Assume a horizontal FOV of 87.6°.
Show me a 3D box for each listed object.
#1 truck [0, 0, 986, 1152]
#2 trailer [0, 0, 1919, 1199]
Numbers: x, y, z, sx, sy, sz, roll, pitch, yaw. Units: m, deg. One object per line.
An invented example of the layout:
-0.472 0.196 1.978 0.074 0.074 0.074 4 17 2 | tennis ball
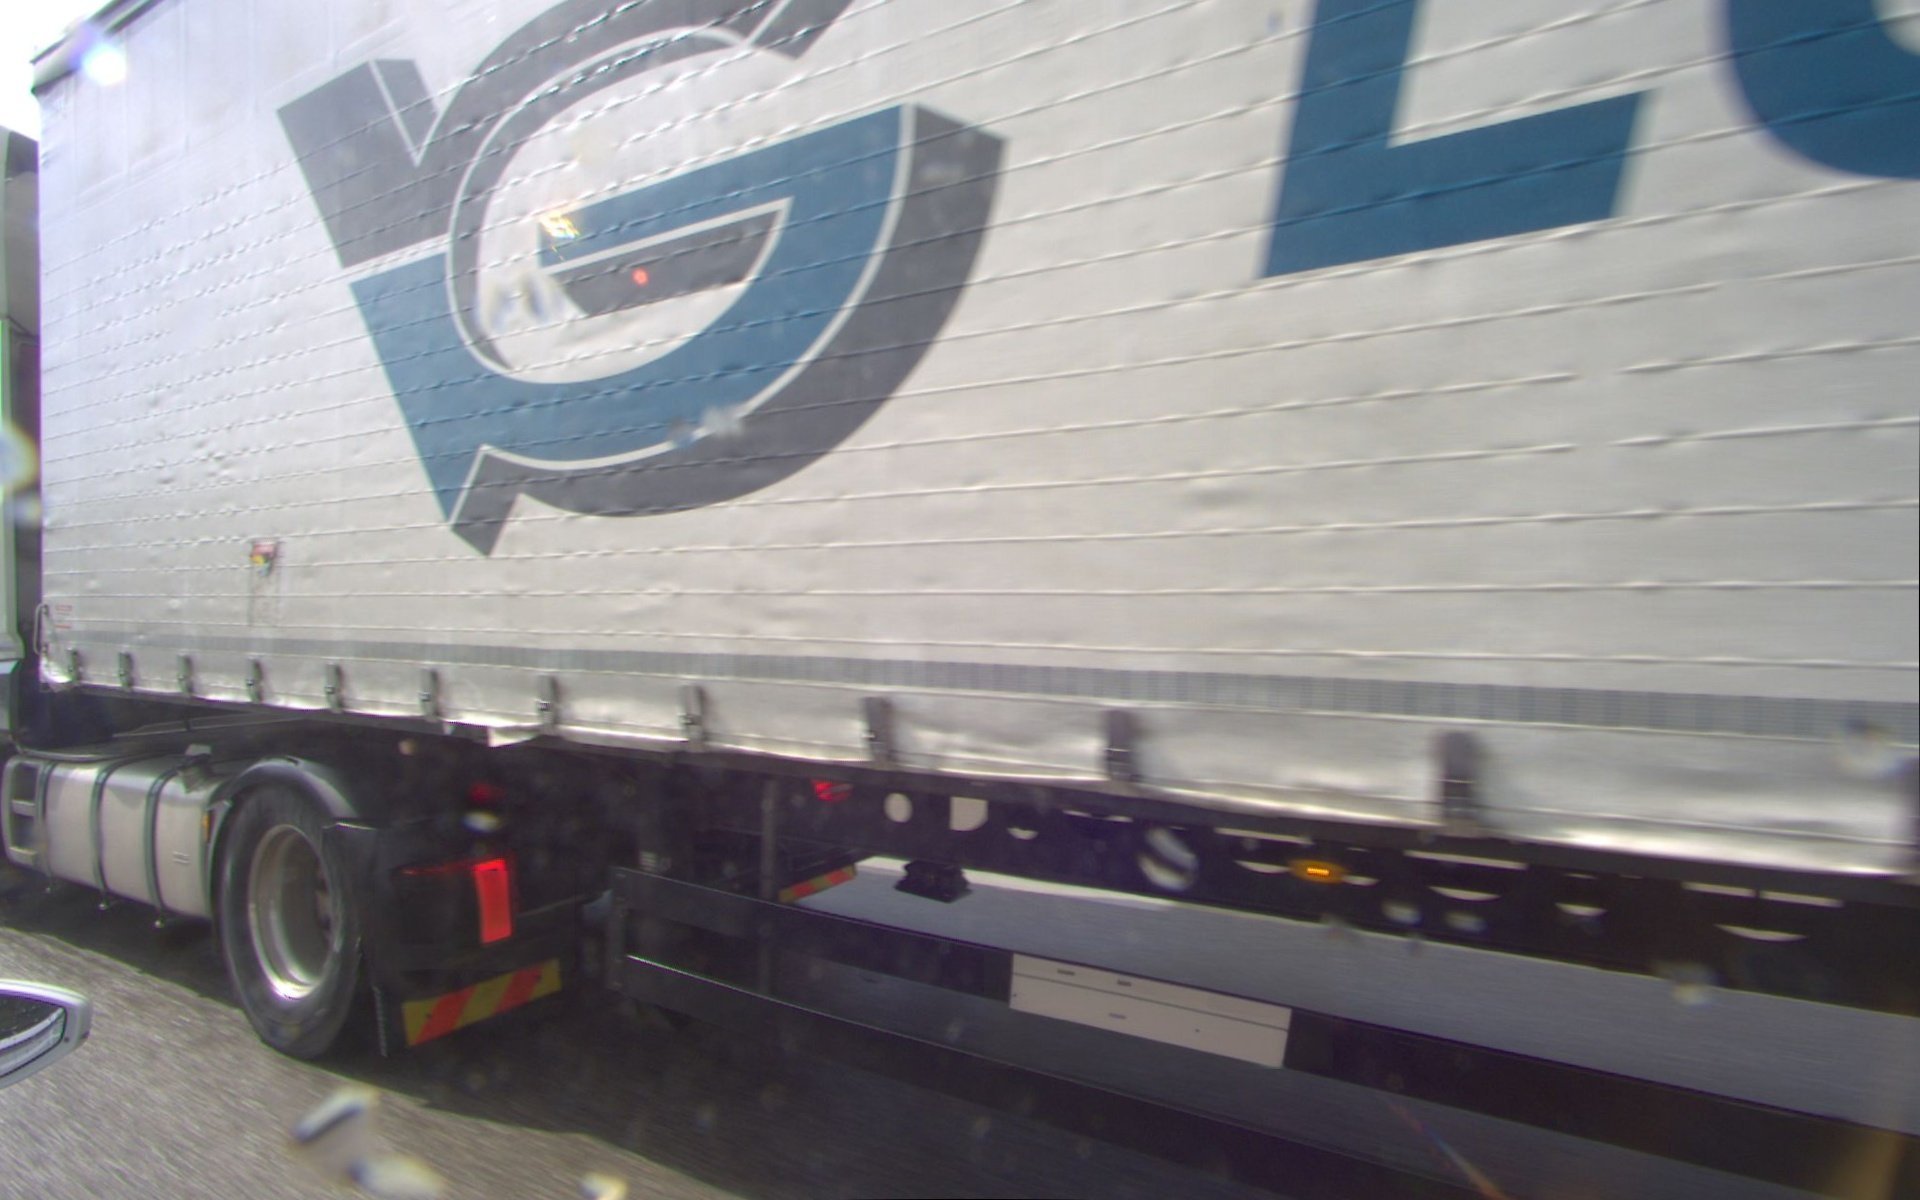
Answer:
-3.380 -0.362 5.821 6.303 3.940 3.280 -1 -2 31 | truck
2.229 -0.481 2.393 13.922 3.948 3.279 -1 -2 31 | trailer
